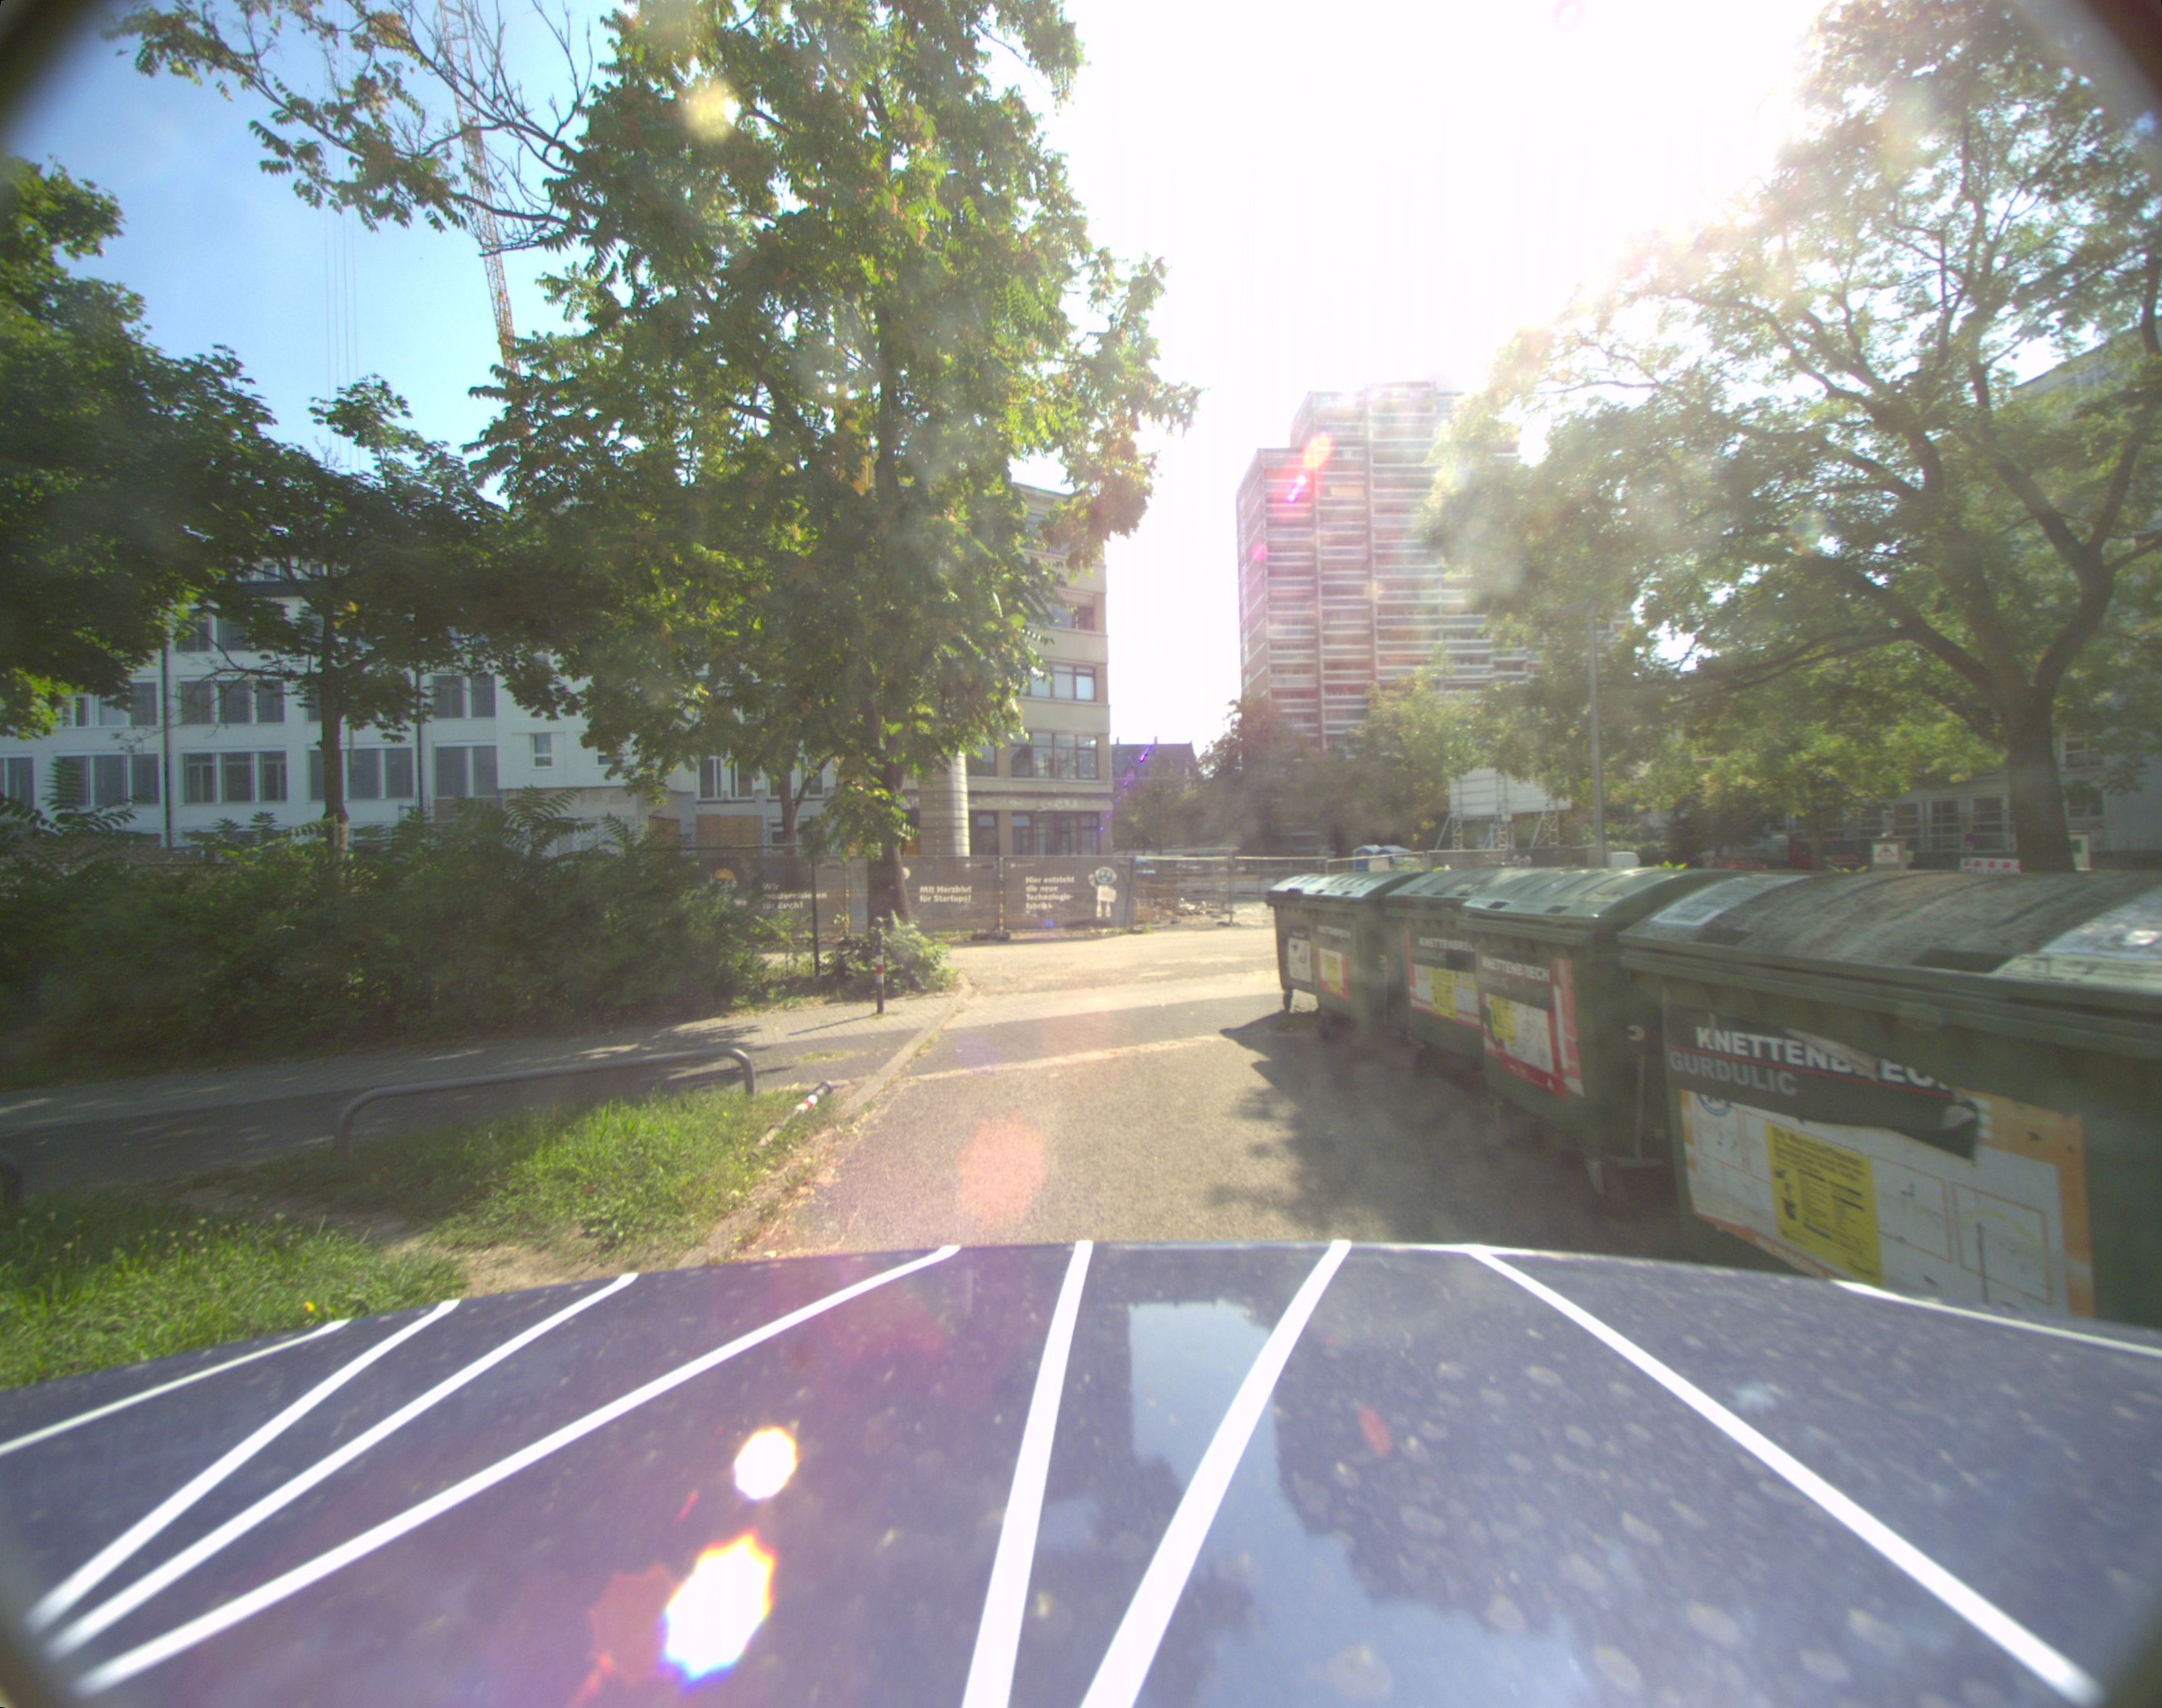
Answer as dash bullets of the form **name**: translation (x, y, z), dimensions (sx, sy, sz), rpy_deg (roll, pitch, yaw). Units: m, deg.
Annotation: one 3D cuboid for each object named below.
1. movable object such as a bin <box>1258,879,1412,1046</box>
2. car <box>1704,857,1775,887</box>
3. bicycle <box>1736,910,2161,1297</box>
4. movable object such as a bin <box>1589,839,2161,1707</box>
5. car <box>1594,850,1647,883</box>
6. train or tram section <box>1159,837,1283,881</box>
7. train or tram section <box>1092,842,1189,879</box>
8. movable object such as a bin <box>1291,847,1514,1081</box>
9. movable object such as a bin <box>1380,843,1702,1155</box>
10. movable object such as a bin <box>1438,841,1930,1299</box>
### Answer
- **movable object such as a bin**: translation (2.546, 1.036, 7.742), dimensions (1.037, 1.489, 1.106), rpy_deg (-2, 0, -11)
- **car**: translation (35.625, 0.942, 41.207), dimensions (1.861, 1.534, 4.007), rpy_deg (-2, -1, 25)
- **bicycle**: translation (3.946, 0.923, 3.259), dimensions (0.477, 1.206, 2.008), rpy_deg (-2, 0, -1)
- **movable object such as a bin**: translation (2.250, 0.827, 1.736), dimensions (1.184, 1.696, 1.377), rpy_deg (-2, 0, -4)
- **car**: translation (32.507, 0.741, 45.897), dimensions (1.861, 1.892, 4.007), rpy_deg (-2, -1, 25)
- **train or tram section**: translation (12.135, 0.553, 68.175), dimensions (2.760, 3.551, 13.968), rpy_deg (-1, -1, -28)
- **train or tram section**: translation (5.885, 0.755, 80.008), dimensions (2.760, 3.551, 14.561), rpy_deg (-1, -1, -28)
- **movable object such as a bin**: translation (2.591, 0.815, 6.342), dimensions (1.184, 1.696, 1.377), rpy_deg (-2, 0, -4)
- **movable object such as a bin**: translation (2.856, 0.806, 4.944), dimensions (1.184, 1.696, 1.377), rpy_deg (-2, 0, -4)
- **movable object such as a bin**: translation (2.571, 0.816, 3.536), dimensions (1.183, 1.696, 1.395), rpy_deg (-2, 0, 4)
